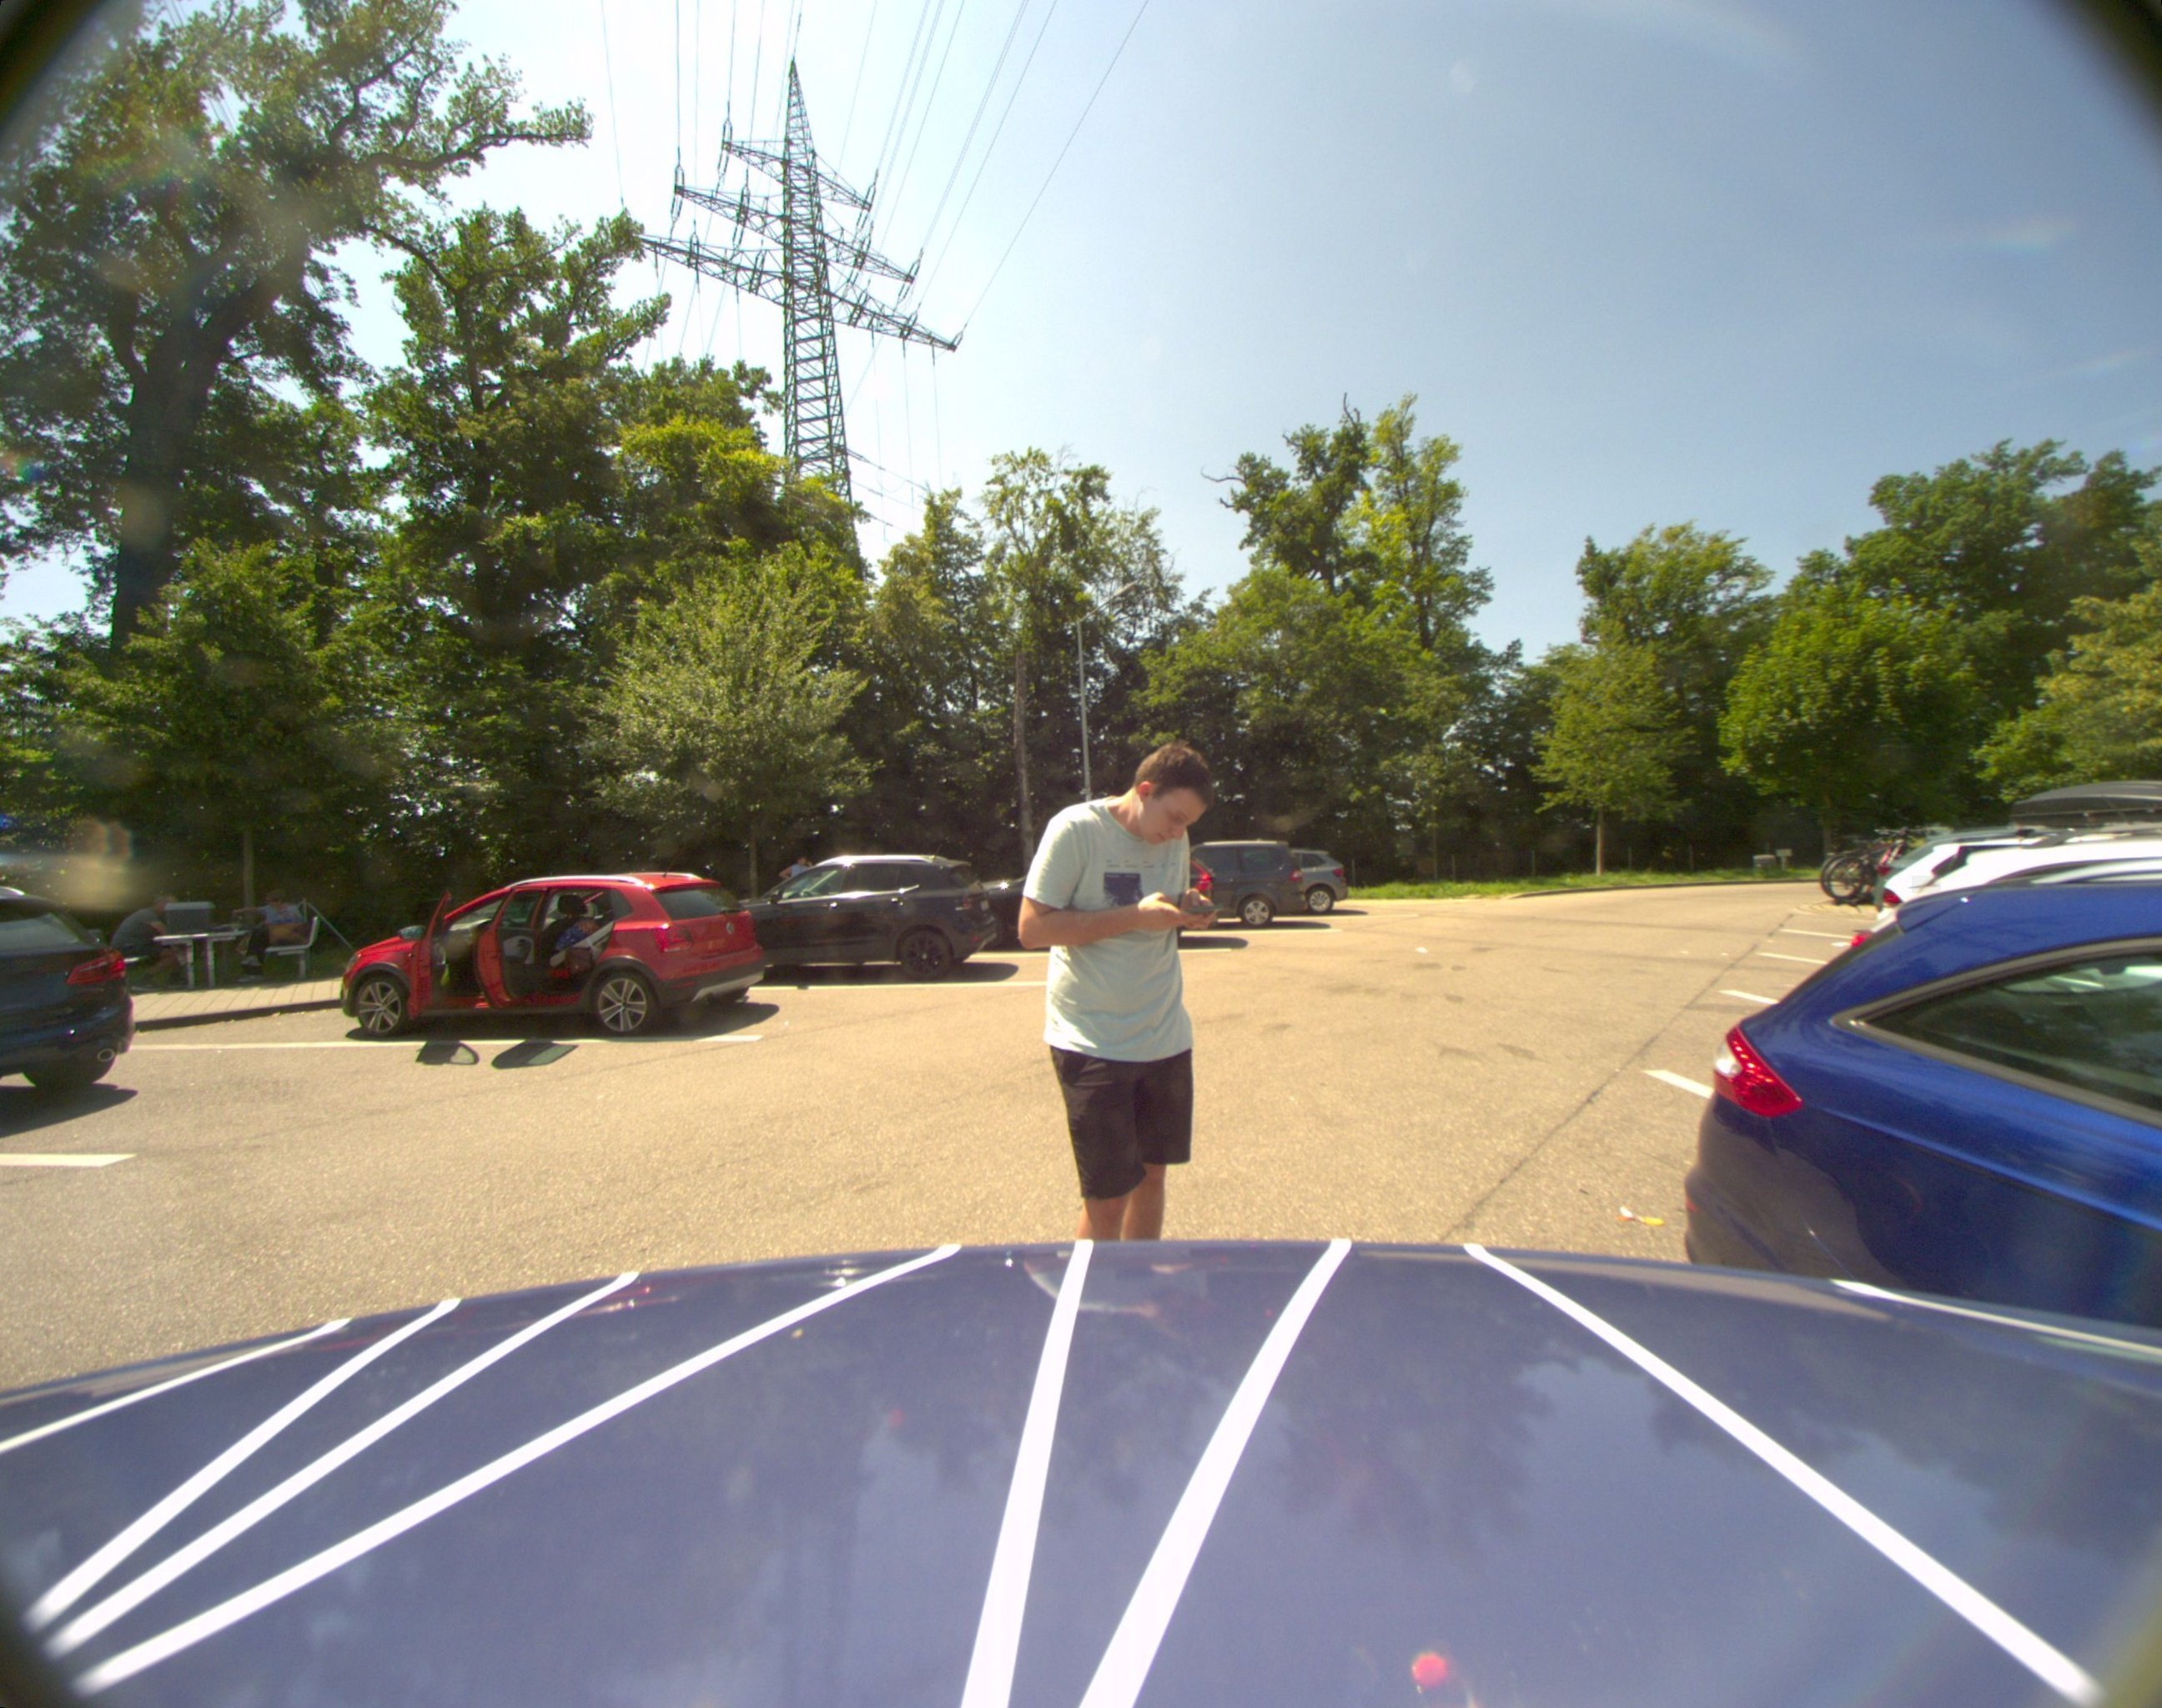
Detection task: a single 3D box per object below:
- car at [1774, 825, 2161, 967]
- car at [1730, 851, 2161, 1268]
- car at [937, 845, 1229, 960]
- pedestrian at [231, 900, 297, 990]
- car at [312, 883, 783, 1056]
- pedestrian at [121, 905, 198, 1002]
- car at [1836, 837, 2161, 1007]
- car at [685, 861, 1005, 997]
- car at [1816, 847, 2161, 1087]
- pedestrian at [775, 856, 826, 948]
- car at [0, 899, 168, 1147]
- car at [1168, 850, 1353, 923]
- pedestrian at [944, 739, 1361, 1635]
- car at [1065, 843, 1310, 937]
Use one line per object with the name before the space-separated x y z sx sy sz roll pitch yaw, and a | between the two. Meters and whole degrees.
car | 12.539 0.475 10.368 1.777 1.541 4.493 -3 -1 -5
car | 4.873 0.740 2.351 1.776 1.491 4.495 -3 -1 -1
car | 0.119 0.778 12.968 4.611 1.703 2.001 -2 1 8
pedestrian | -11.952 1.306 11.122 0.695 1.228 0.588 -3 0 43
car | -5.190 1.090 7.633 3.730 1.440 1.591 -2 0 7
pedestrian | -12.633 1.340 10.433 0.695 1.228 0.588 -3 0 43
car | 10.108 0.569 6.897 1.777 1.418 4.493 -3 -1 -5
car | -3.034 0.947 10.310 3.732 1.578 1.739 -2 0 2
car | 7.475 0.672 4.510 1.776 1.418 4.495 -3 -1 -1
pedestrian | -5.790 0.976 15.680 0.767 1.821 0.519 -3 2 -40
car | -8.885 1.162 4.987 3.934 1.534 1.812 -2 0 7
car | 4.141 0.741 18.007 3.996 1.495 1.687 -2 1 3
pedestrian | 0.178 0.711 2.133 0.862 1.940 0.687 -3 1 -28
car | 2.138 0.710 15.468 4.619 1.701 1.740 -2 0 9
